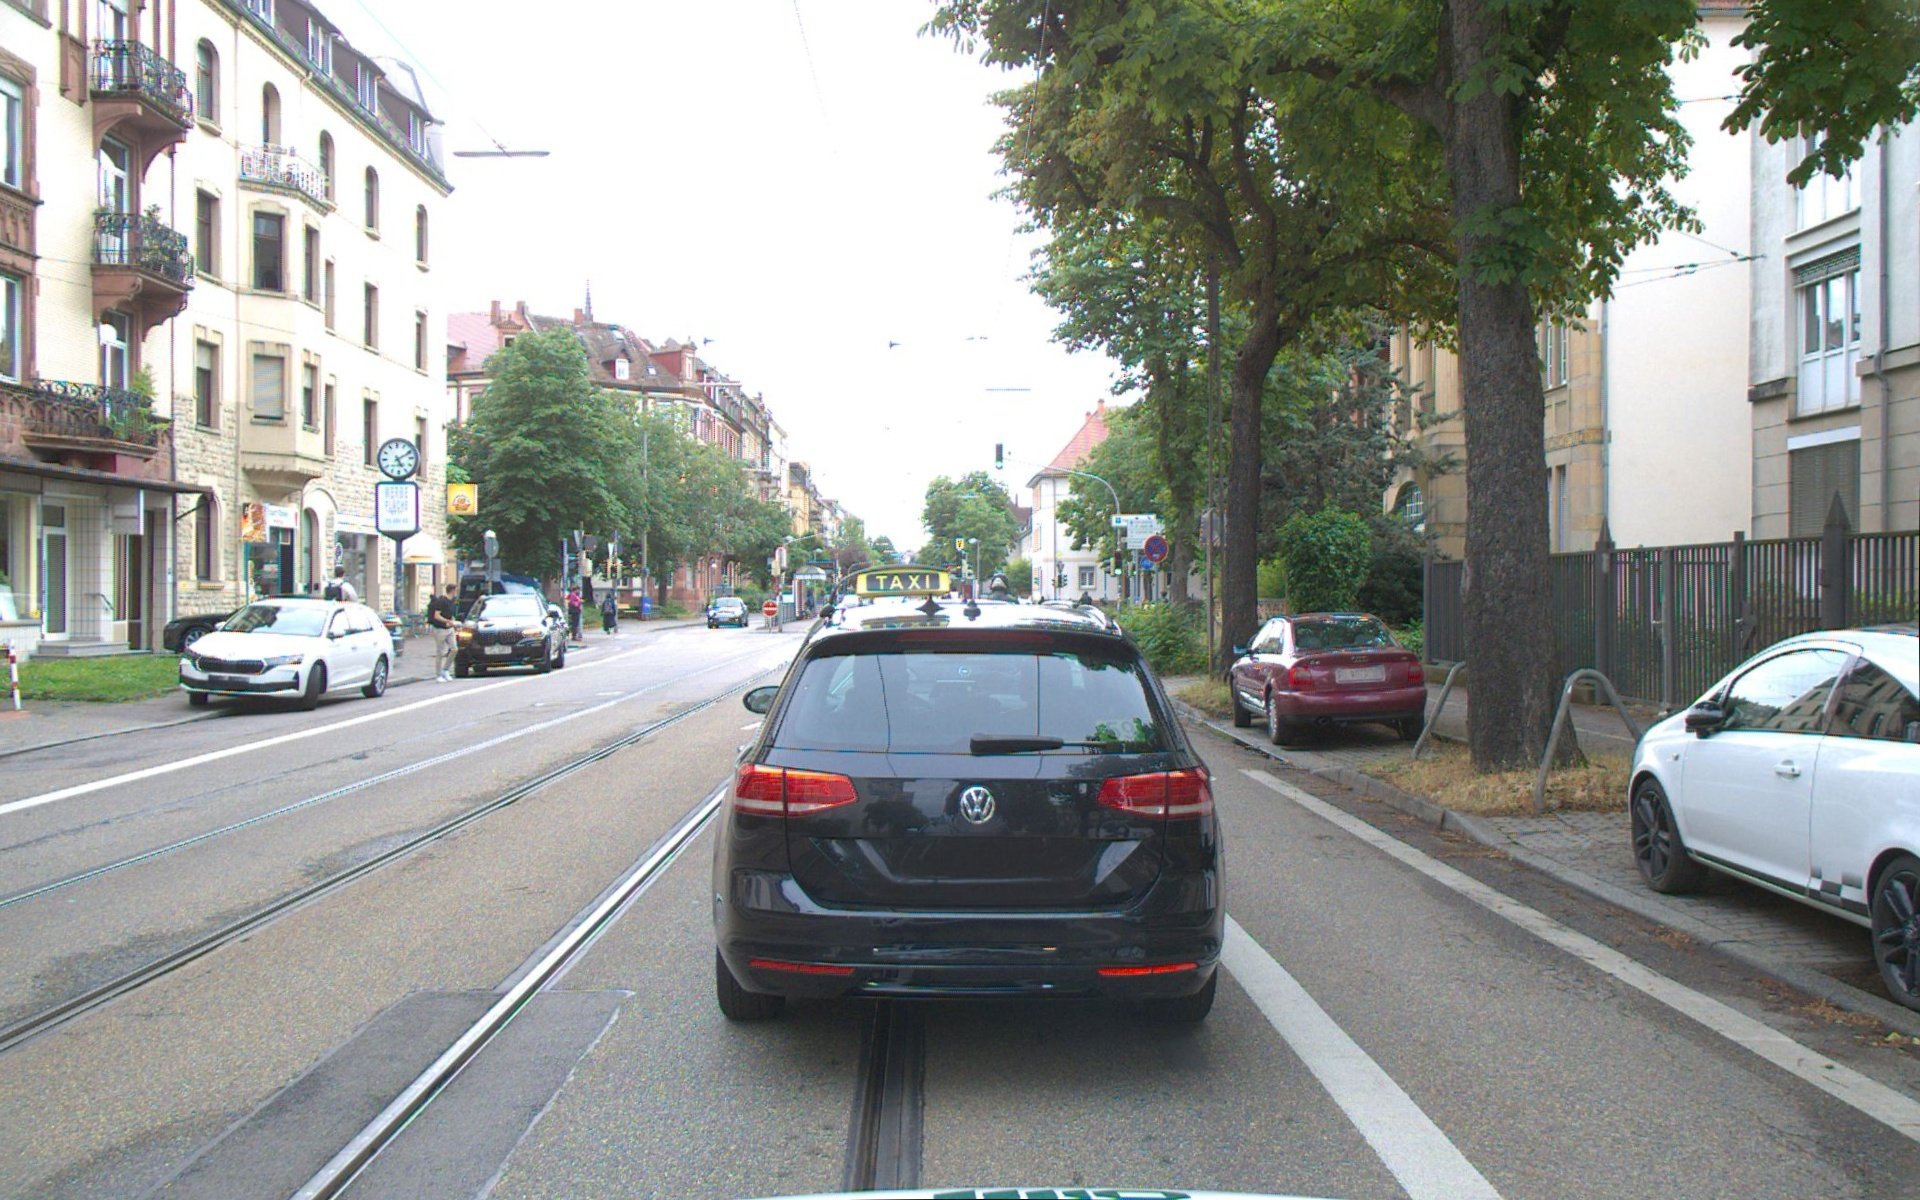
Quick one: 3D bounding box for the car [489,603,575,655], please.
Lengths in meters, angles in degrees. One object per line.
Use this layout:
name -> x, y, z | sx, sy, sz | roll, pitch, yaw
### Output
car -> -12.493, 0.825, 48.502 | 1.616, 1.385, 4.127 | 2, 0, -3

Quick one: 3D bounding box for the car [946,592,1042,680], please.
car -> 0.589, 0.634, 31.650 | 1.688, 1.573, 3.999 | 0, 0, -1

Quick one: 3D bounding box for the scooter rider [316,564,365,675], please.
scooter rider -> -11.610, 0.364, 31.035 | 0.629, 2.049, 0.757 | 0, 0, -1

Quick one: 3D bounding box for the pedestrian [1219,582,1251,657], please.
pedestrian -> 6.818, 0.474, 41.016 | 0.619, 1.846, 0.726 | 0, 0, -3

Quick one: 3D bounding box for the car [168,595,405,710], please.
car -> -9.746, 0.696, 24.356 | 1.712, 1.510, 4.607 | -1, 0, -2

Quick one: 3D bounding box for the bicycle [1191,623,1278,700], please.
bicycle -> 4.516, 0.989, 27.123 | 0.426, 1.219, 1.891 | 0, -1, 44

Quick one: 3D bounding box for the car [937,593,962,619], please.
car -> -0.854, 0.502, 132.065 | 1.991, 2.049, 3.999 | 1, 0, -1

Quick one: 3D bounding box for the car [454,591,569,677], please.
car -> -9.674, 0.687, 35.985 | 1.849, 1.640, 4.876 | -3, 0, -9

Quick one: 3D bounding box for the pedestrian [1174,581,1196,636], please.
pedestrian -> 7.783, 0.303, 57.254 | 0.573, 1.863, 0.604 | -3, 0, 2

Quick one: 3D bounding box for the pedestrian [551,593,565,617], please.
pedestrian -> -26.065, 0.341, 107.300 | 0.577, 1.547, 0.647 | 0, 0, 35

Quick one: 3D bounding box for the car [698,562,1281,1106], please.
car -> 0.064, 0.671, 6.804 | 1.688, 1.573, 3.999 | 0, 0, -1

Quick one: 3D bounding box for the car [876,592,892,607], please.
car -> -8.540, -0.068, 186.511 | 1.686, 1.651, 3.862 | 0, 0, -1

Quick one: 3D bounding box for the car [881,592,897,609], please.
car -> -8.867, 0.114, 206.401 | 1.953, 2.049, 3.998 | 1, 0, -2

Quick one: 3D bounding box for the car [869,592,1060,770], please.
car -> 0.017, 0.707, 16.669 | 1.688, 1.573, 3.999 | 0, 0, -1

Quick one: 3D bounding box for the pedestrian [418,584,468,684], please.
pedestrian -> -9.904, 0.648, 31.675 | 0.662, 1.876, 0.871 | -1, 0, -36

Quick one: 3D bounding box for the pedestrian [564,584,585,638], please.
pedestrian -> -13.329, 0.379, 57.154 | 0.610, 1.875, 0.609 | 0, 0, -3

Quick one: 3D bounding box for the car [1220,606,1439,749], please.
car -> 4.250, 0.828, 19.652 | 1.569, 1.423, 4.226 | -2, 0, -1

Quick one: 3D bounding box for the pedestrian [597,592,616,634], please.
pedestrian -> -14.219, 0.526, 66.569 | 0.577, 1.692, 0.839 | 0, 0, -2

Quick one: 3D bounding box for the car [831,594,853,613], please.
car -> -10.425, 0.304, 146.468 | 1.686, 1.651, 3.862 | -1, 0, -1

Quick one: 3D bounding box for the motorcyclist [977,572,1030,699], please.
motorcyclist -> 0.598, 0.484, 22.887 | 0.688, 1.722, 0.804 | 0, 0, -1

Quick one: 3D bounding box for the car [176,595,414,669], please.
car -> -14.266, 0.672, 35.691 | 4.340, 1.394, 1.878 | 2, 0, -6

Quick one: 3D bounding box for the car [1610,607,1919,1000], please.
car -> 4.536, 0.808, 7.601 | 1.569, 1.460, 3.776 | -2, 0, 0

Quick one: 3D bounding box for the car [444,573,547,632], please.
car -> -20.195, 0.113, 71.792 | 2.168, 2.460, 5.295 | 0, 0, -43

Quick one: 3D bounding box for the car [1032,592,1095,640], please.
car -> 3.683, 0.569, 59.338 | 1.953, 1.605, 3.999 | 1, 0, -1

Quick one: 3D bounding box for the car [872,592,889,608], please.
car -> -8.308, -0.013, 172.427 | 1.686, 1.651, 3.862 | 0, 0, -1

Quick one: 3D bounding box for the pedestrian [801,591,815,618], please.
pedestrian -> -8.624, 0.252, 93.876 | 0.699, 1.547, 0.590 | 0, 0, 1

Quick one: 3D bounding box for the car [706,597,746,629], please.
car -> -11.249, 0.606, 79.626 | 1.576, 1.447, 3.484 | -1, 0, -4

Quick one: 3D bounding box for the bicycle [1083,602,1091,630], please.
bicycle -> 5.705, 0.696, 74.339 | 0.291, 1.244, 1.431 | 0, 0, 6

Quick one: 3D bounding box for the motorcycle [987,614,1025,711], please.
motorcycle -> 0.627, 0.835, 22.759 | 0.437, 1.257, 1.906 | 0, 0, -1

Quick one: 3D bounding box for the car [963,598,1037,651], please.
car -> 1.212, 0.687, 47.807 | 1.852, 1.432, 4.003 | -1, 0, 5

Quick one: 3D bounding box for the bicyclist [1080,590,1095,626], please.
bicyclist -> 5.745, 0.367, 74.470 | 0.637, 1.596, 0.696 | 0, 0, 6

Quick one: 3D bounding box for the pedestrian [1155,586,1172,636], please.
pedestrian -> 7.646, 0.406, 62.184 | 0.503, 1.863, 0.418 | -3, 0, 15

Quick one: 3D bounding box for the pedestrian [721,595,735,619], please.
pedestrian -> -15.098, 0.463, 107.715 | 0.577, 1.547, 0.647 | 0, 0, 35

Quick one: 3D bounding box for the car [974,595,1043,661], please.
car -> 1.184, 0.686, 41.776 | 1.574, 1.583, 3.577 | 1, 0, -1
